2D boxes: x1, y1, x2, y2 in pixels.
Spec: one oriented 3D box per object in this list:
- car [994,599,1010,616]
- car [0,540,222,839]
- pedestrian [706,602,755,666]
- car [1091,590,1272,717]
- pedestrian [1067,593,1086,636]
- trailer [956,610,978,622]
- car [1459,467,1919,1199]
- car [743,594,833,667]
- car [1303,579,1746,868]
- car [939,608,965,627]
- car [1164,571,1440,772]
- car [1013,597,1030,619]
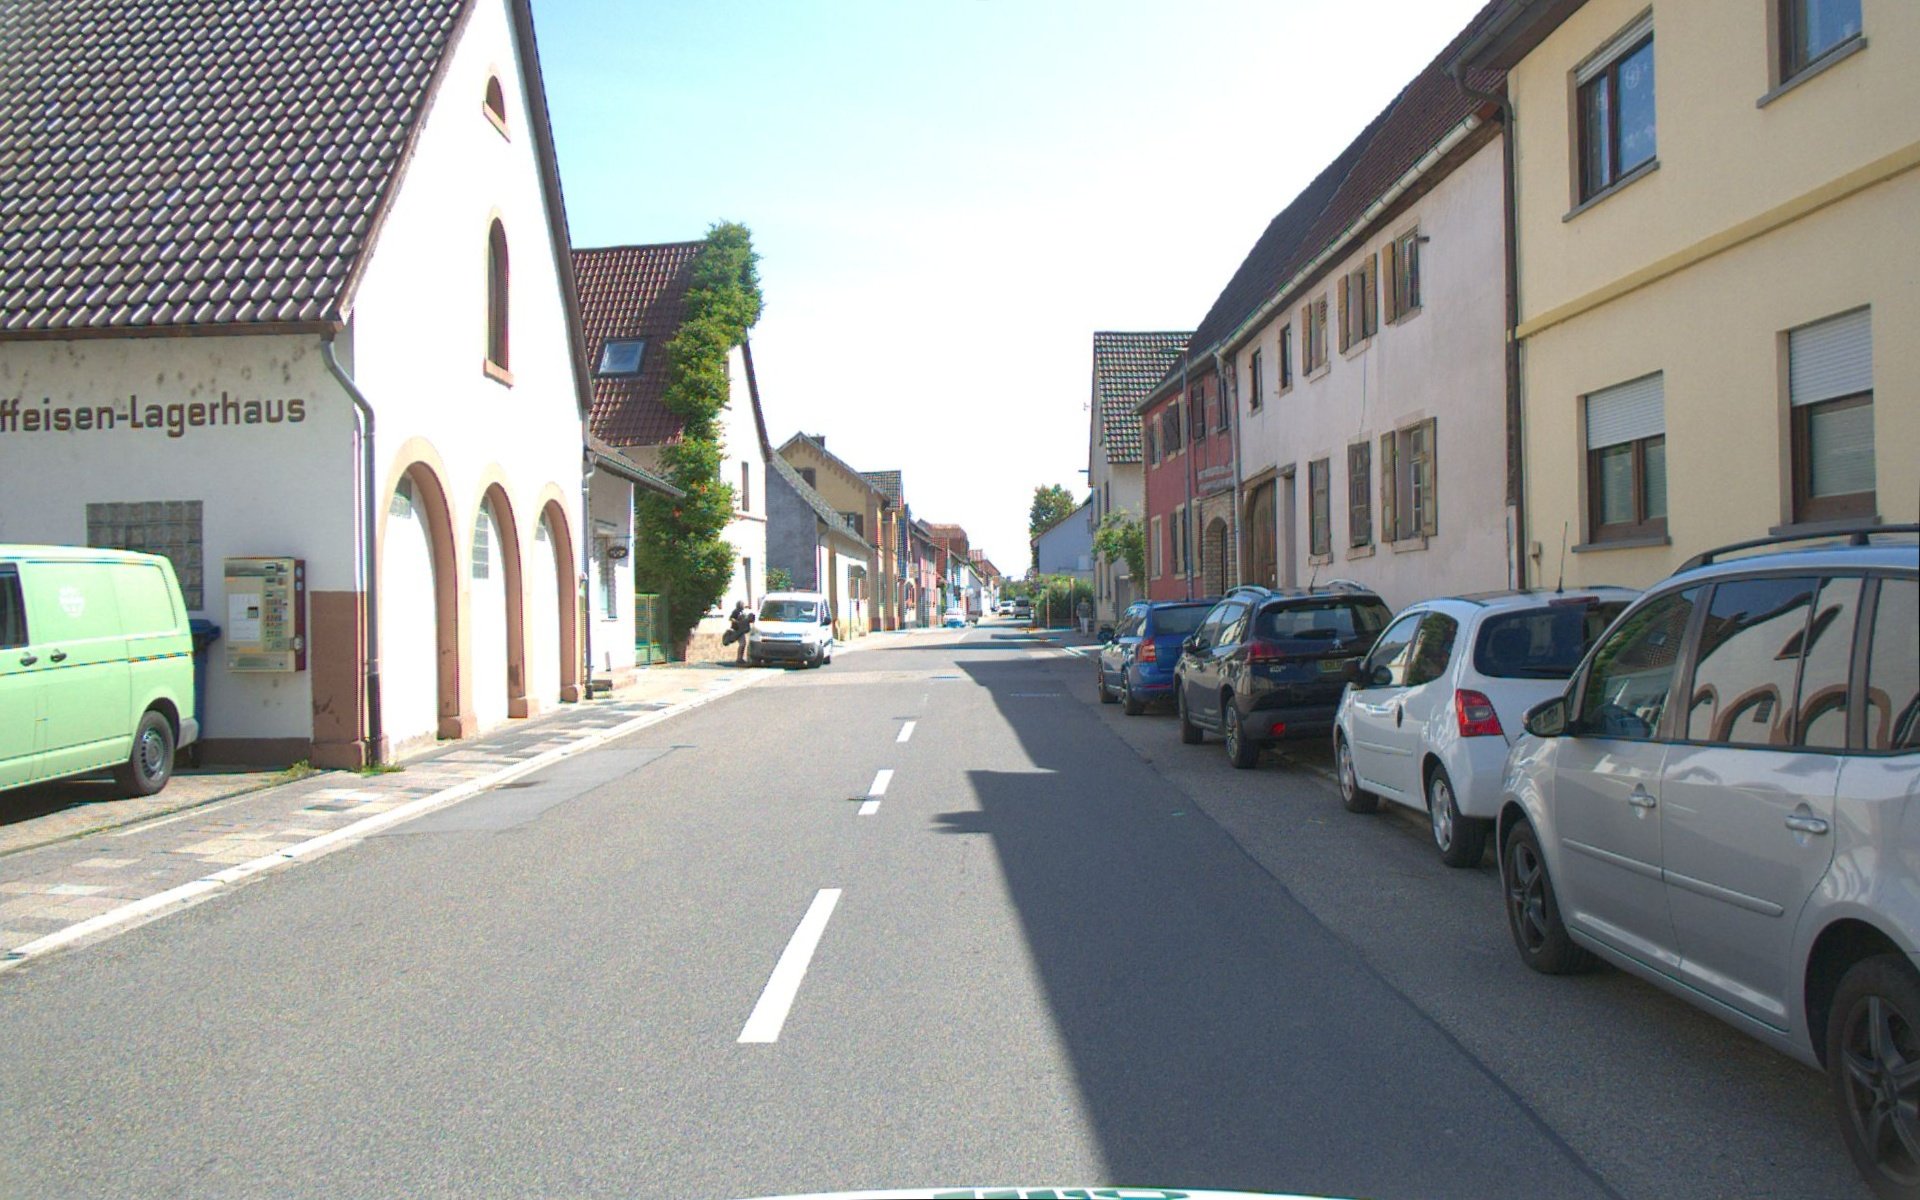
[{"bbox_3d":[5.916,1.086,234.380,2.114,2.116,3.999,-2,-2,0],"label":"car"},{"bbox_3d":[-7.381,0.609,11.935,1.952,1.999,4.669,-1,0,1],"label":"car"},{"bbox_3d":[-5.719,0.842,41.281,1.113,1.579,1.016,0,0,-2],"label":"pedestrian"},{"bbox_3d":[2.893,0.668,22.506,1.664,1.495,4.408,-2,0,-2],"label":"car"},{"bbox_3d":[4.602,0.566,65.336,0.704,1.693,0.893,-1,0,4],"label":"pedestrian"},{"bbox_3d":[0.647,1.475,152.381,1.953,1.109,4.000,-1,0,0],"label":"trailer"},{"bbox_3d":[3.165,0.568,5.263,1.859,1.758,4.248,-1,0,0],"label":"car"},{"bbox_3d":[-4.200,0.721,40.955,1.817,1.676,4.428,-1,0,-1],"label":"car"},{"bbox_3d":[3.370,0.658,10.606,1.519,1.463,3.720,-2,0,0],"label":"car"},{"bbox_3d":[-0.658,1.446,135.554,1.952,1.467,4.000,-2,0,1],"label":"car"},{"bbox_3d":[3.106,0.606,15.841,1.665,1.611,4.026,-2,0,-2],"label":"car"},{"bbox_3d":[7.544,0.959,202.826,1.976,2.612,4.000,-2,0,1],"label":"car"}]
